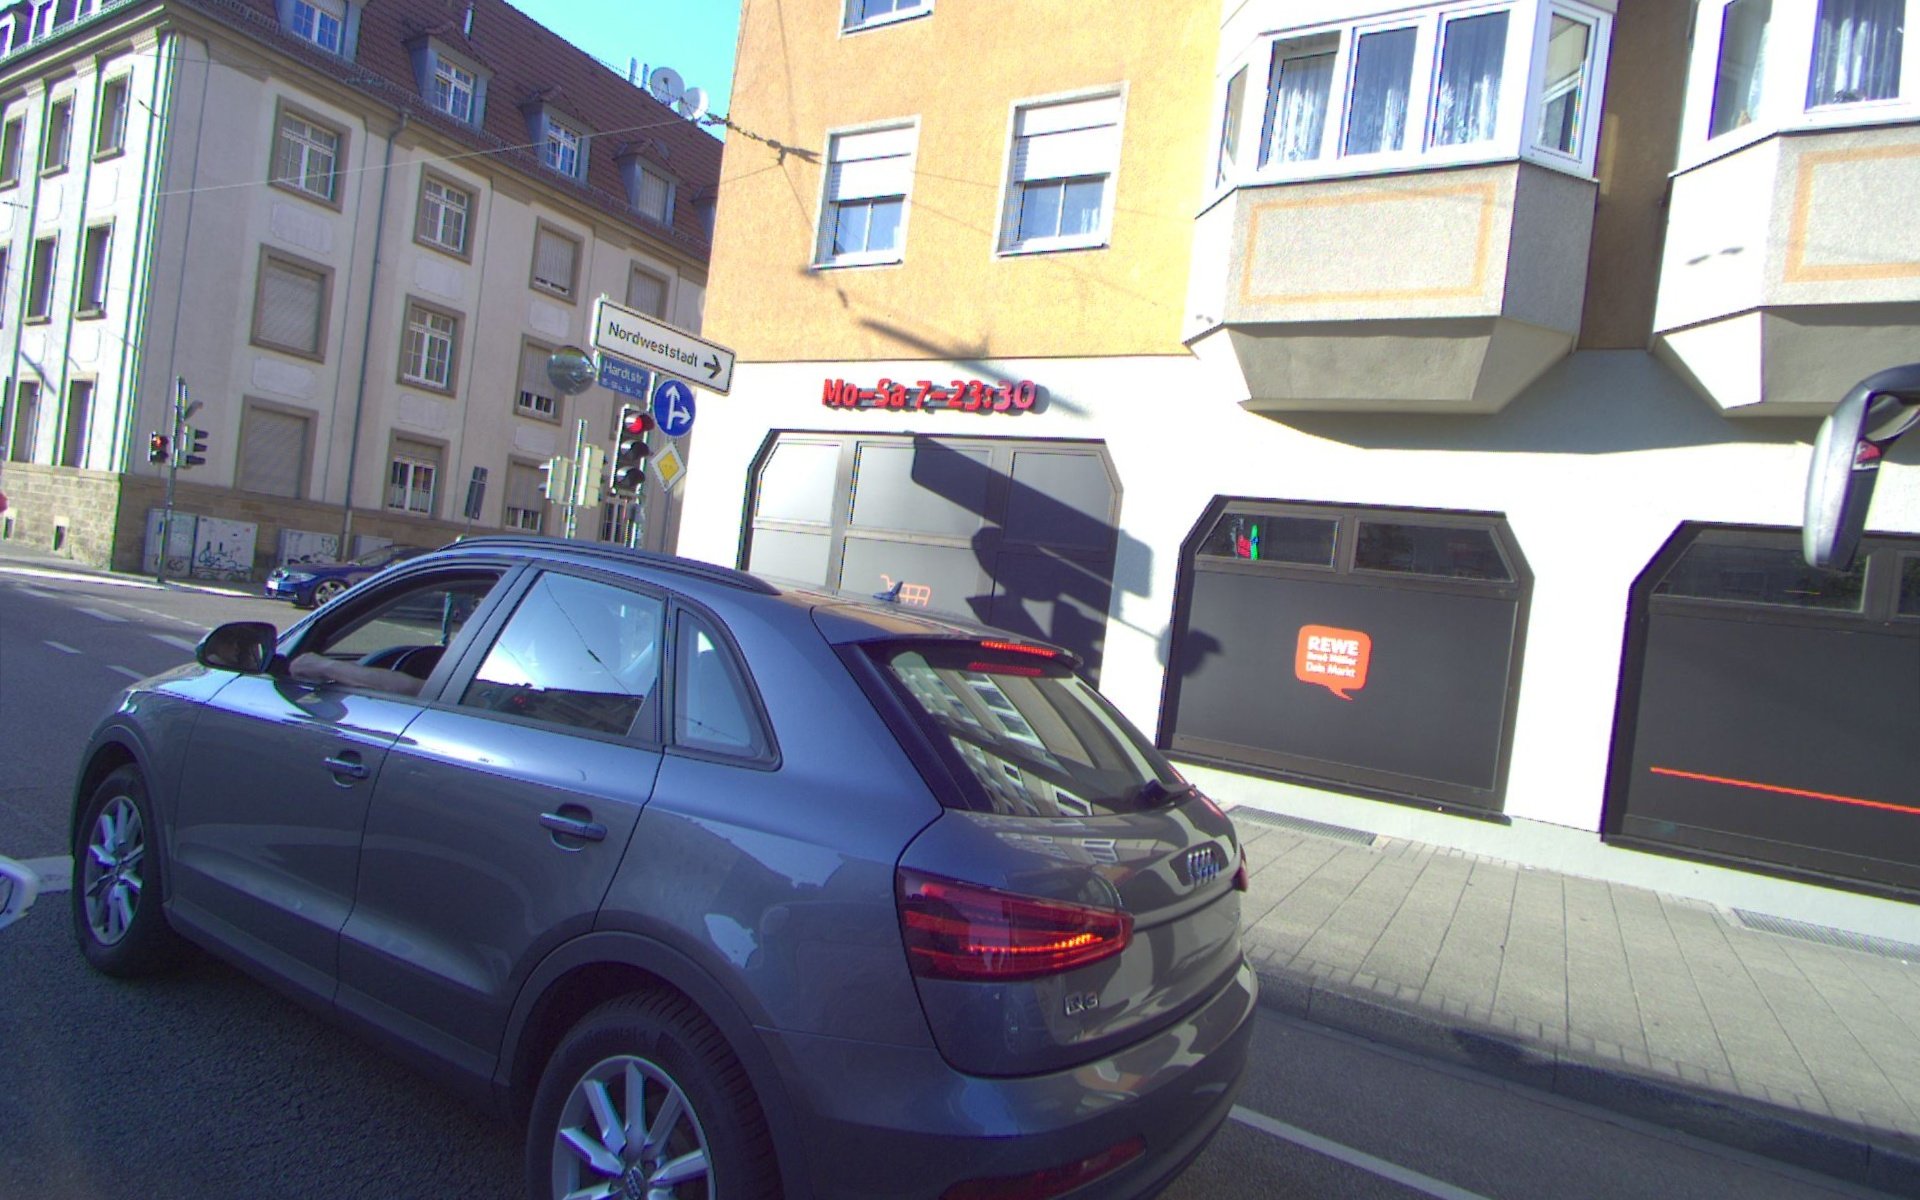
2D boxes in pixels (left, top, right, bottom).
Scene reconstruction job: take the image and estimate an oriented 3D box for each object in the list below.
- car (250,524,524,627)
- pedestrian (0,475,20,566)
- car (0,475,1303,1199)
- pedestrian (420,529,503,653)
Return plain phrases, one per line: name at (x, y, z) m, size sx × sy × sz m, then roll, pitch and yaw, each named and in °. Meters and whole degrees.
car at (-11.378, -0.441, 20.244) m, size 1.904 × 1.473 × 4.313 m, roll 6°, pitch -2°, yaw 37°
pedestrian at (-19.563, -1.650, 20.061) m, size 0.810 × 1.783 × 0.837 m, roll 6°, pitch -1°, yaw 31°
car at (-1.275, 0.622, 3.324) m, size 4.155 × 1.570 × 1.701 m, roll 7°, pitch -2°, yaw 32°
pedestrian at (-7.651, -0.137, 15.447) m, size 0.812 × 1.778 × 0.630 m, roll 6°, pitch -1°, yaw 32°
